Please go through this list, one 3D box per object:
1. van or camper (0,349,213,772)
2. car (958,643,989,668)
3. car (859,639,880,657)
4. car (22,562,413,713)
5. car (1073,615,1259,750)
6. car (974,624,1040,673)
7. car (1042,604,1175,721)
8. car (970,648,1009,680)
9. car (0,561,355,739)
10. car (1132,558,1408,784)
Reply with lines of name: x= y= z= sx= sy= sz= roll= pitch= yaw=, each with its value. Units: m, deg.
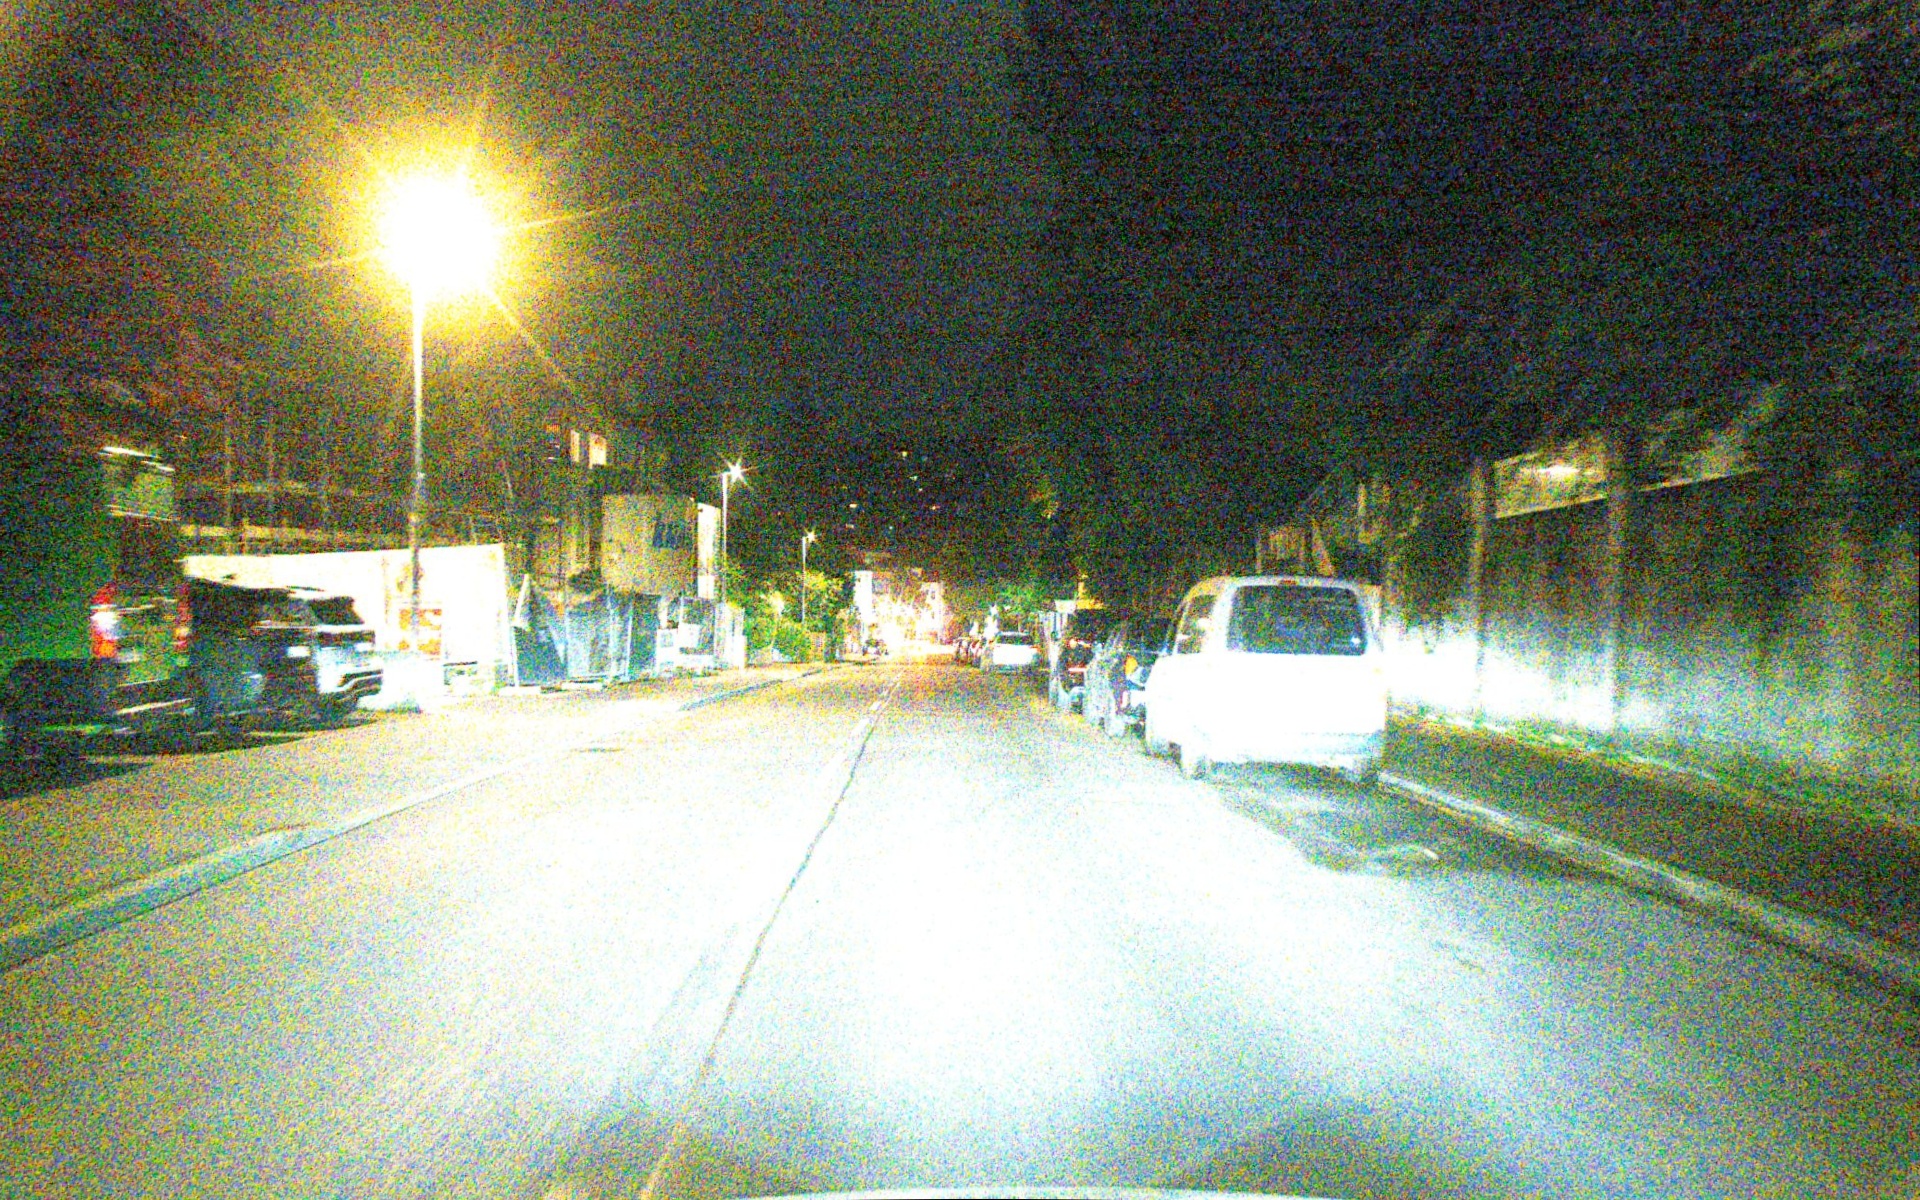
van or camper: x=-9.102 y=-0.364 z=13.140 sx=5.302 sy=3.165 sz=2.127 roll=2 pitch=0 yaw=-11
car: x=0.846 y=3.475 z=104.433 sx=1.649 sy=1.474 sz=3.997 roll=3 pitch=-2 yaw=-3
car: x=-8.042 y=4.256 z=146.239 sx=1.719 sy=1.567 sz=3.727 roll=1 pitch=-2 yaw=-5
car: x=-8.730 y=0.422 z=19.709 sx=3.734 sy=1.582 sz=1.926 roll=2 pitch=0 yaw=-2
car: x=2.566 y=0.996 z=21.507 sx=1.708 sy=1.496 sz=4.255 roll=3 pitch=-1 yaw=-2
car: x=1.565 y=1.659 z=56.665 sx=1.729 sy=1.501 sz=4.271 roll=3 pitch=-2 yaw=-5
car: x=2.343 y=0.997 z=27.127 sx=1.794 sy=1.693 sz=4.618 roll=2 pitch=-2 yaw=1
car: x=1.414 y=3.060 z=79.949 sx=1.597 sy=1.464 sz=3.862 roll=2 pitch=-2 yaw=-3
car: x=-8.750 y=0.487 z=16.879 sx=4.326 sy=1.642 sz=2.065 roll=1 pitch=-2 yaw=0
car: x=2.804 y=0.604 z=16.026 sx=1.684 sy=1.792 sz=4.757 roll=2 pitch=-1 yaw=-1
